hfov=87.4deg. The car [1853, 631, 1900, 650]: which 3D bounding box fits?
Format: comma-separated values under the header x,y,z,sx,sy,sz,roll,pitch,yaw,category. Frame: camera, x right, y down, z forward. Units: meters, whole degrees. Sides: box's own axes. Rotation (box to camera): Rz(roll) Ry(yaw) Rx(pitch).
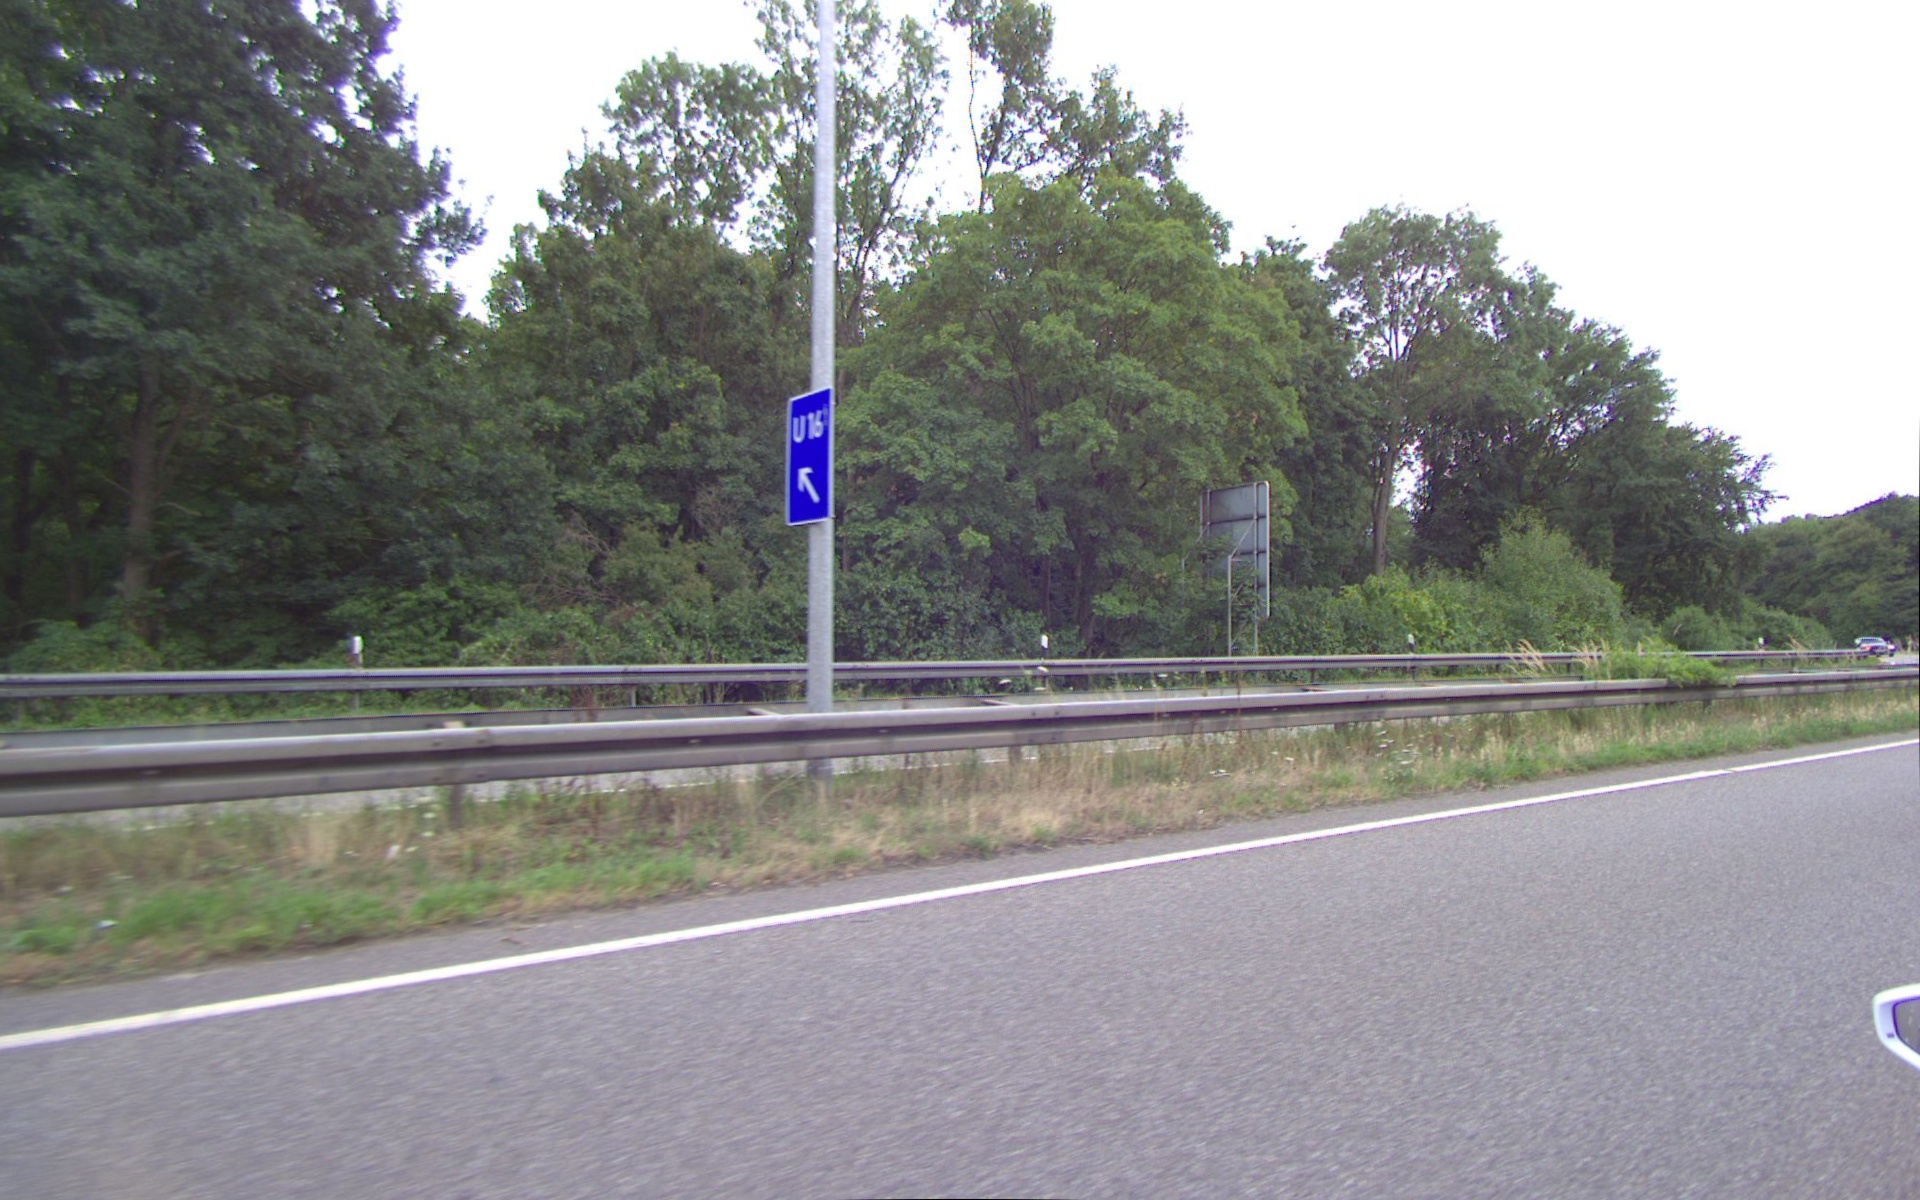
x,y,z,sx,sy,sz,roll,pitch,yaw,category
67.513,2.959,74.054,1.600,1.305,3.995,1,-2,27,car
